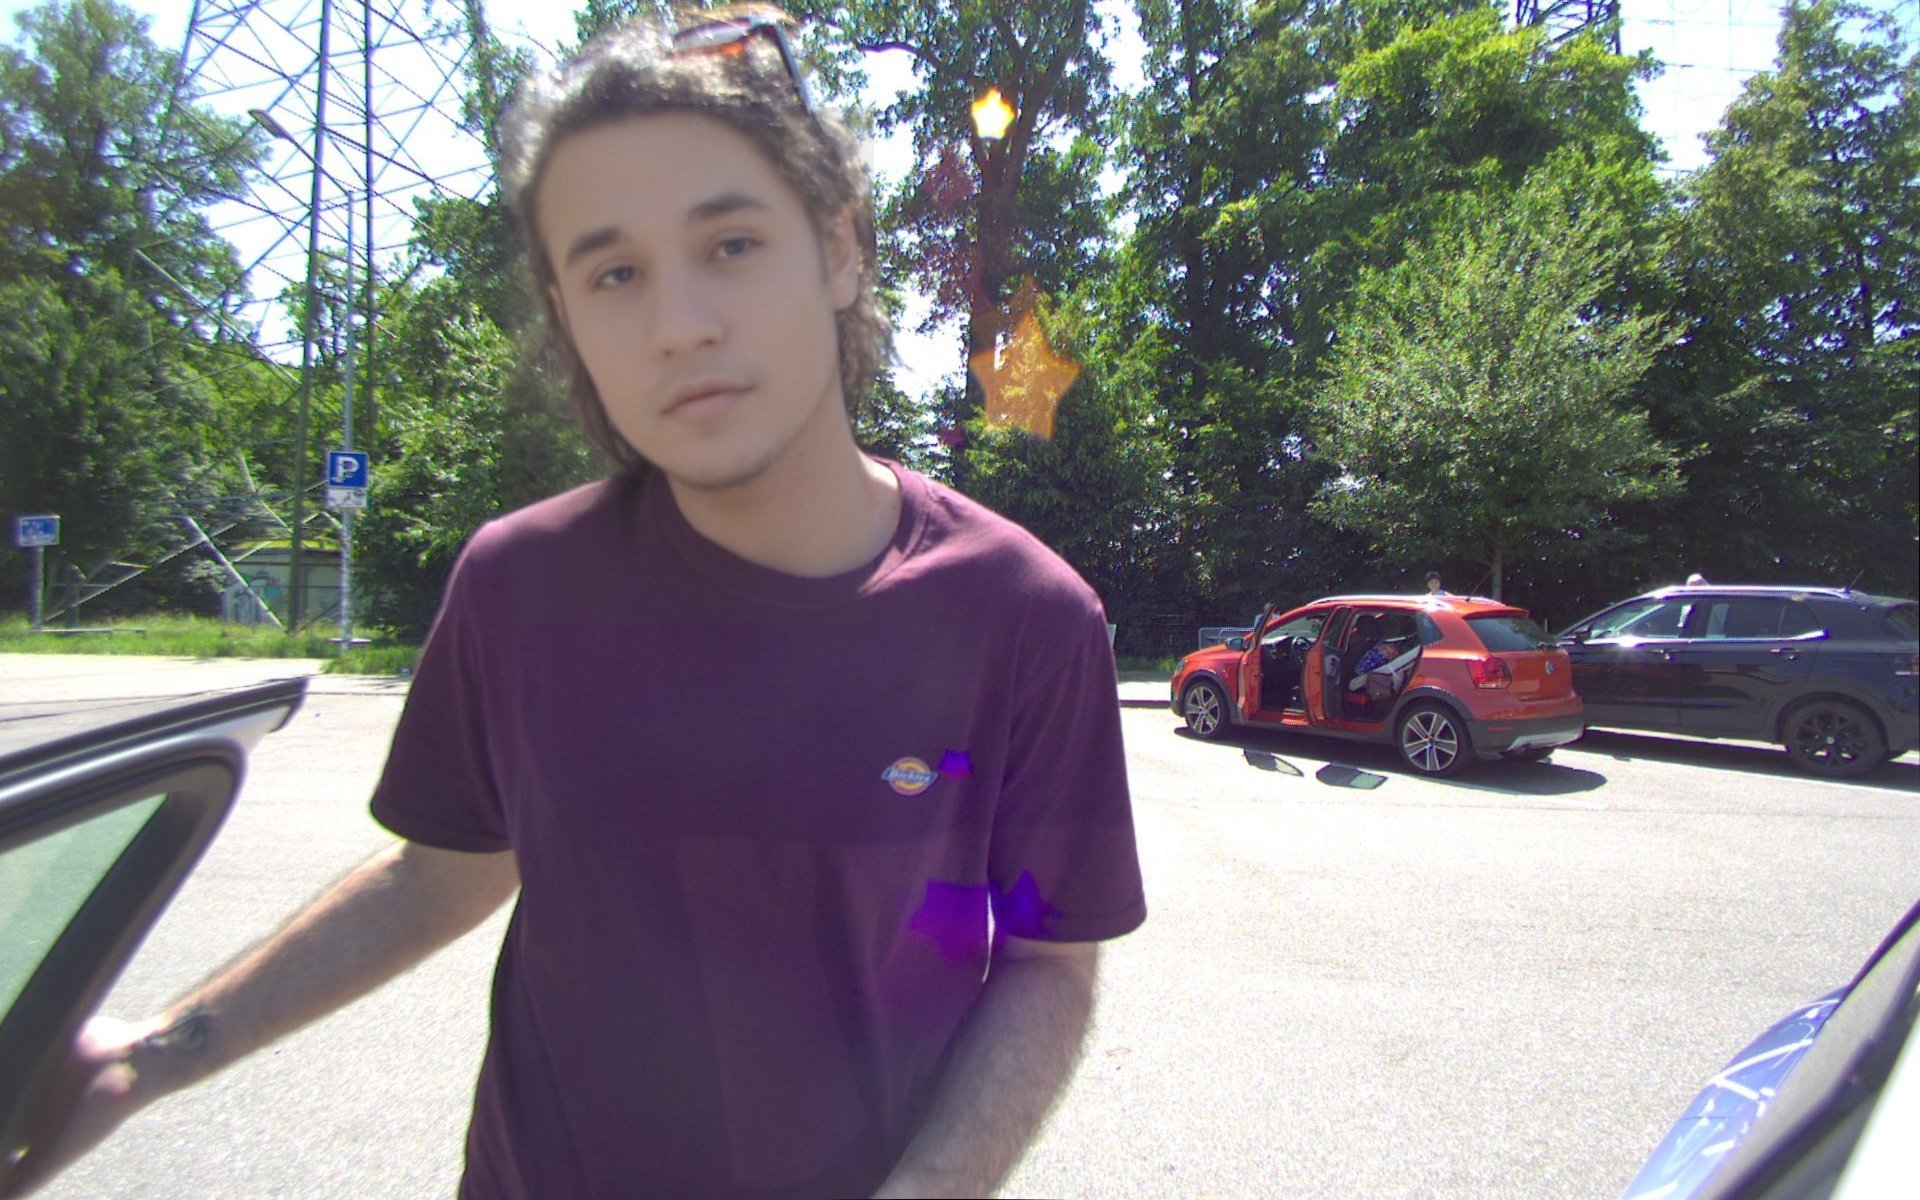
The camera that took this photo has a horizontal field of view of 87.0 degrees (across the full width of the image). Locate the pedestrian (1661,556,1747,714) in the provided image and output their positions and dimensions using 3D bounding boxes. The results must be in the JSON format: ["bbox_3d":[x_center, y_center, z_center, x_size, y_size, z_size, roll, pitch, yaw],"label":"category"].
[{"bbox_3d":[9.246,0.417,12.604,0.672,1.889,0.710,0,-1,19],"label":"pedestrian"}]

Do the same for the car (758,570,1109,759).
[{"bbox_3d":[-0.475,0.541,10.706,1.809,1.588,4.017,1,0,-35],"label":"car"}]

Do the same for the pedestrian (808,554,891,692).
[{"bbox_3d":[-1.500,0.298,13.683,0.786,1.784,0.809,1,-1,-39],"label":"pedestrian"}]

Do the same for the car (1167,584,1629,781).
[{"bbox_3d":[3.936,0.619,9.657,1.746,1.475,3.710,1,0,-33],"label":"car"}]

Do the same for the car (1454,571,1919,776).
[{"bbox_3d":[7.217,0.574,9.844,1.807,1.612,3.967,1,0,-38],"label":"car"}]

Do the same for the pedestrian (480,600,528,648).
[{"bbox_3d":[-10.318,0.531,22.914,0.796,1.062,0.714,1,-1,-43],"label":"pedestrian"}]

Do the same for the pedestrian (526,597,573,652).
[{"bbox_3d":[-9.596,0.567,23.636,0.796,1.253,0.713,1,-1,-44],"label":"pedestrian"}]

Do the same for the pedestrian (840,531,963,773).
[{"bbox_3d":[-0.494,0.398,8.292,0.700,1.851,0.906,1,-1,-26],"label":"pedestrian"}]

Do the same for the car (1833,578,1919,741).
[{"bbox_3d":[10.938,0.599,9.392,1.745,1.612,3.972,1,0,-32],"label":"car"}]

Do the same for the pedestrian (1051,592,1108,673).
[{"bbox_3d":[1.992,0.534,16.936,0.656,1.311,0.832,1,-1,-17],"label":"pedestrian"}]

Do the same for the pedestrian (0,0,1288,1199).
[{"bbox_3d":[-0.391,0.399,0.677,0.828,1.797,0.926,0,-1,45],"label":"pedestrian"}]

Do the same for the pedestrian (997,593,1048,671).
[{"bbox_3d":[1.052,0.535,17.192,0.656,1.285,0.655,1,-1,-17],"label":"pedestrian"}]

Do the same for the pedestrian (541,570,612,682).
[{"bbox_3d":[-5.716,0.375,15.077,0.761,1.614,0.809,1,-1,-37],"label":"pedestrian"}]

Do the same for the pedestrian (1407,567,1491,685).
[{"bbox_3d":[6.907,0.357,14.323,0.793,1.614,0.716,1,-1,-5],"label":"pedestrian"}]
